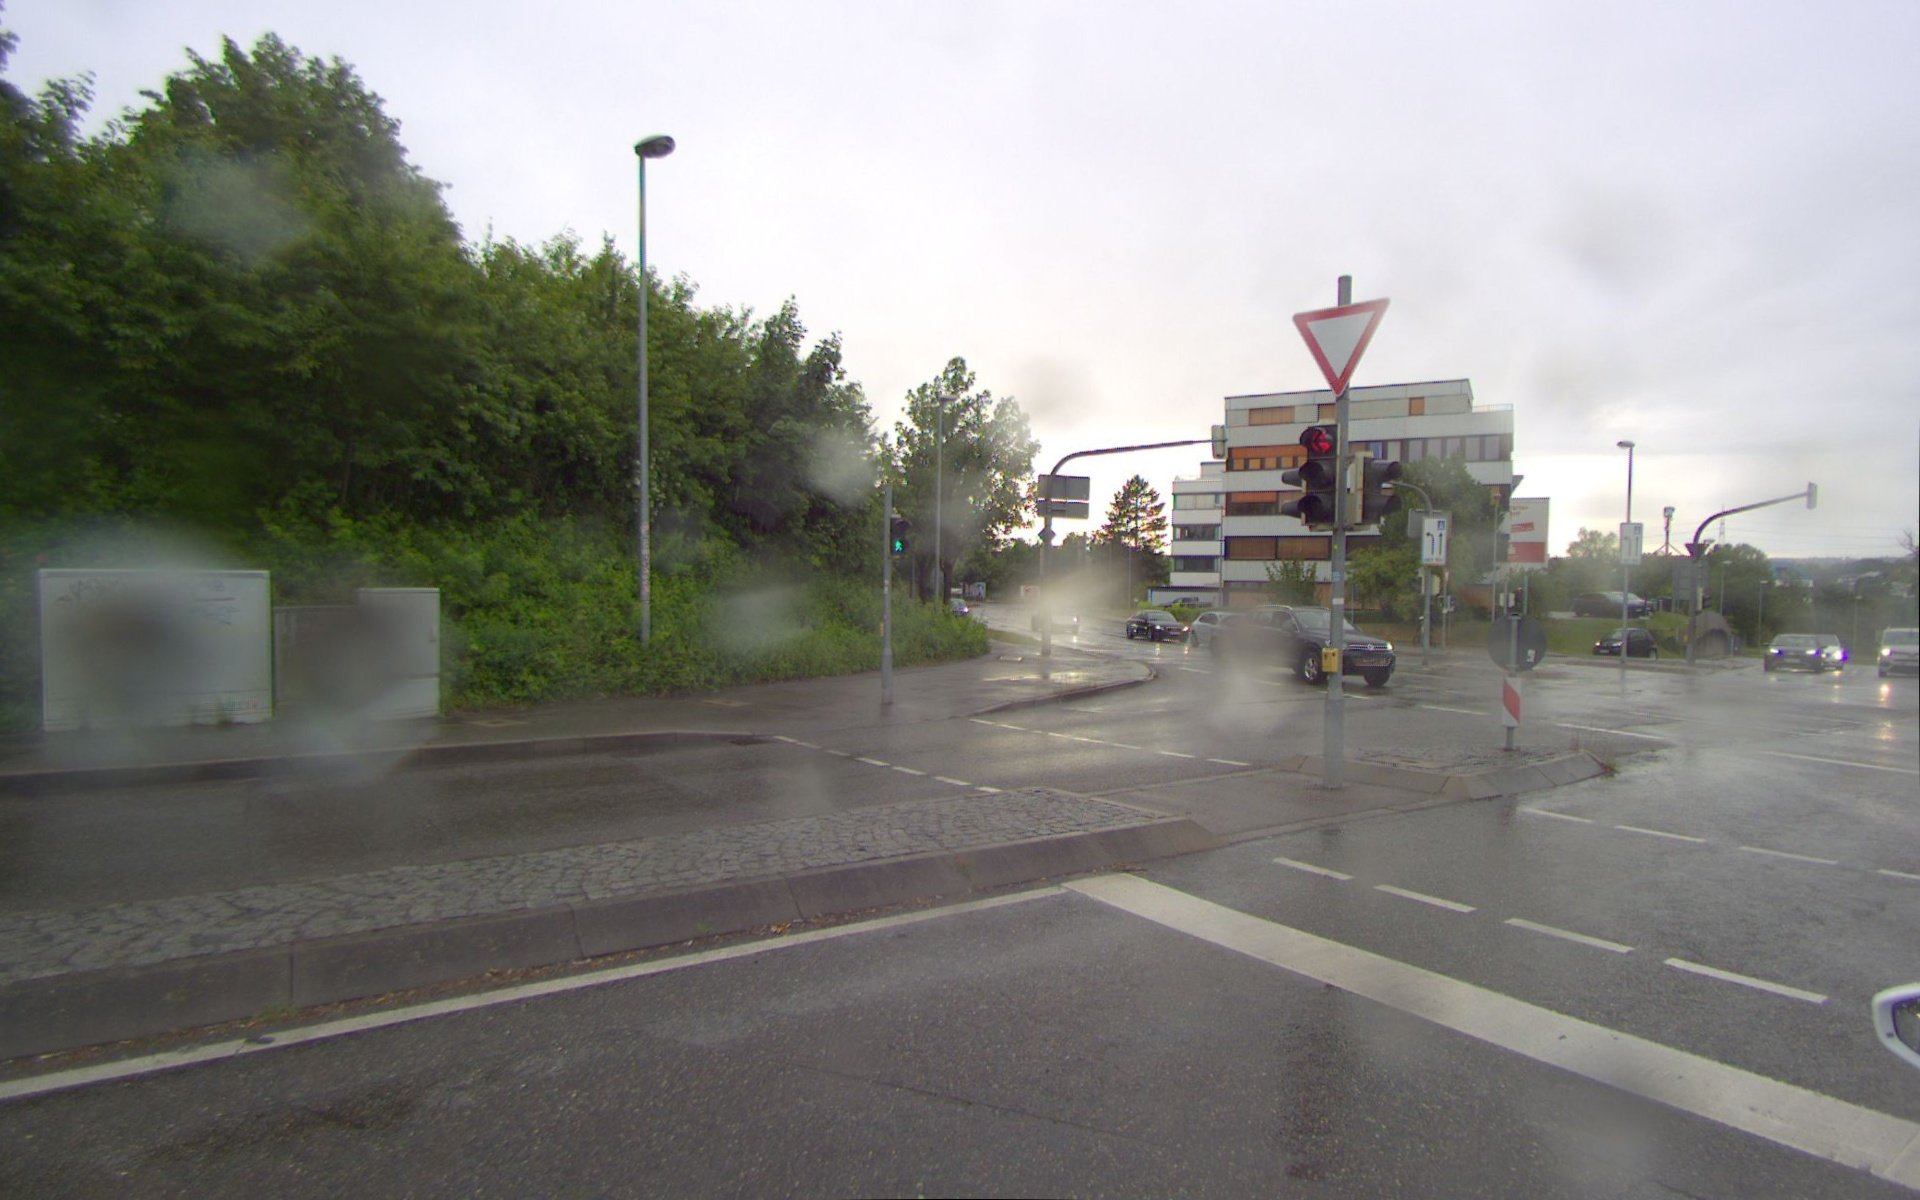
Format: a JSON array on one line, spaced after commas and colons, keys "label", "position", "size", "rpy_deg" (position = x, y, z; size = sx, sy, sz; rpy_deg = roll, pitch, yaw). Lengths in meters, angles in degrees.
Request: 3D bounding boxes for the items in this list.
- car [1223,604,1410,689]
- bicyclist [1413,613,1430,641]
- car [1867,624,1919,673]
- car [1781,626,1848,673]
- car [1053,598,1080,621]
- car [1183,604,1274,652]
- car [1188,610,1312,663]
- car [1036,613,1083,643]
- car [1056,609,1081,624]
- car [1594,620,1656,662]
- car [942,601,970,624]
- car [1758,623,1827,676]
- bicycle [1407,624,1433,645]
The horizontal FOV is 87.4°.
[{"label": "car", "position": [8.351, 1.024, 24.045], "size": [1.967, 1.725, 4.597], "rpy_deg": [1, 1, -15]}, {"label": "bicyclist", "position": [24.383, 1.436, 53.077], "size": [0.591, 1.465, 0.545], "rpy_deg": [1, 1, 2]}, {"label": "car", "position": [34.856, 1.757, 36.959], "size": [3.974, 1.639, 1.973], "rpy_deg": [1, 1, -45]}, {"label": "car", "position": [38.861, 2.190, 45.657], "size": [1.973, 1.920, 3.974], "rpy_deg": [2, 1, 45]}, {"label": "car", "position": [8.702, 0.763, 82.251], "size": [1.783, 1.818, 4.000], "rpy_deg": [1, 0, 1]}, {"label": "car", "position": [10.588, 1.063, 39.861], "size": [1.964, 1.706, 3.992], "rpy_deg": [1, 1, -10]}, {"label": "car", "position": [9.028, 1.100, 31.640], "size": [1.895, 1.436, 4.139], "rpy_deg": [1, 1, -15]}, {"label": "car", "position": [5.214, 1.429, 53.065], "size": [1.821, 1.377, 4.444], "rpy_deg": [1, 1, -3]}, {"label": "car", "position": [8.849, 1.326, 81.996], "size": [1.784, 1.120, 3.517], "rpy_deg": [1, 0, 3]}, {"label": "car", "position": [33.464, 2.014, 50.500], "size": [1.972, 1.920, 3.977], "rpy_deg": [2, 1, 43]}, {"label": "car", "position": [-0.331, 0.838, 69.943], "size": [1.809, 1.534, 3.999], "rpy_deg": [1, 0, -2]}, {"label": "car", "position": [33.618, 1.954, 40.536], "size": [1.971, 1.920, 3.978], "rpy_deg": [2, 1, 42]}, {"label": "bicycle", "position": [24.386, 1.824, 53.289], "size": [0.597, 1.066, 1.780], "rpy_deg": [1, 1, 3]}]
